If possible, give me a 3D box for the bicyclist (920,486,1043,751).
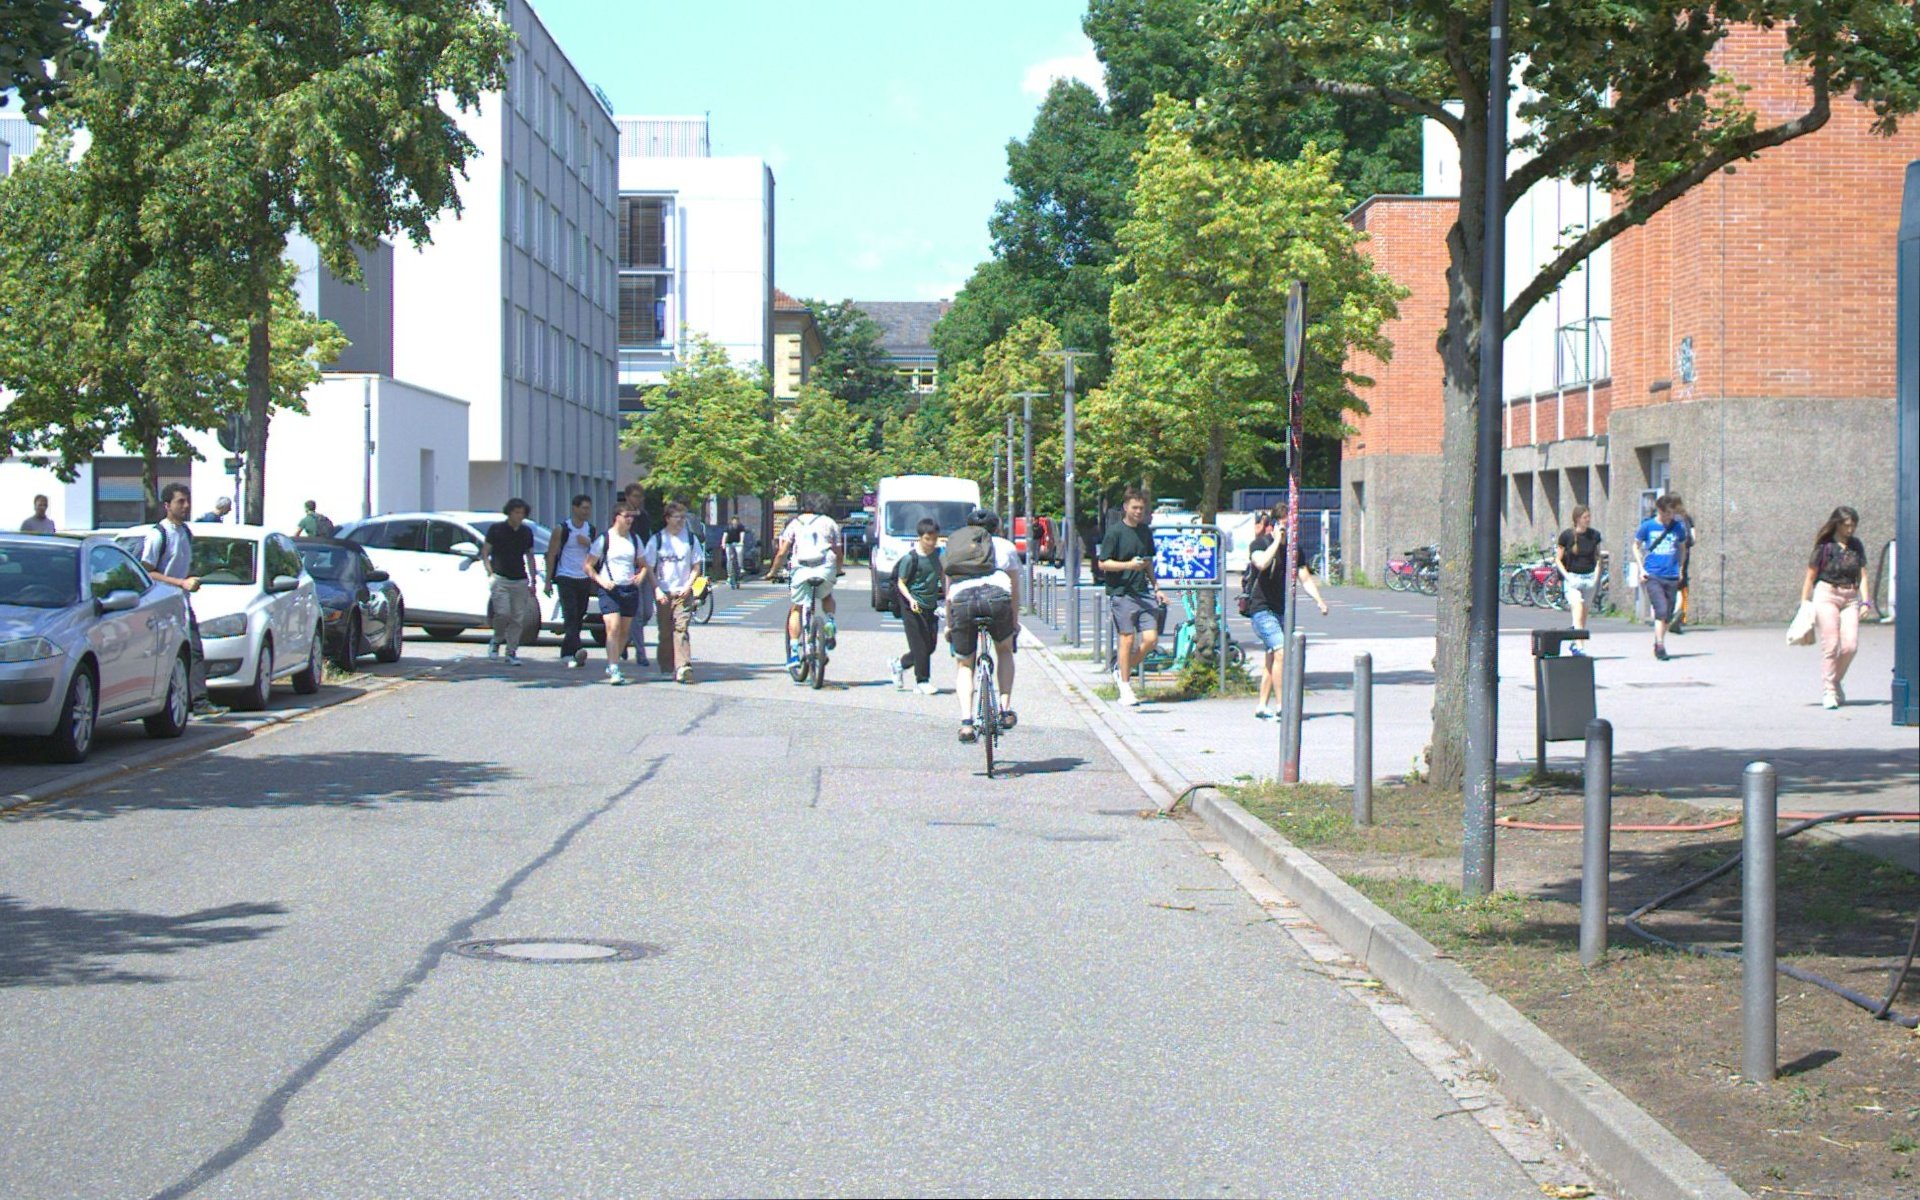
[{"bbox_3d":[0.142,0.099,22.415,0.717,1.656,1.095,2,2,0],"label":"bicyclist"}]

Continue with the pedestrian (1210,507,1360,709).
[{"bbox_3d":[2.627,0.051,27.793,0.848,1.589,0.830,-3,2,-44],"label":"pedestrian"}]

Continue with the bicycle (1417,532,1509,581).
[{"bbox_3d":[10.572,-0.914,72.266,1.809,0.981,0.560,-1,1,-1],"label":"bicycle"}]

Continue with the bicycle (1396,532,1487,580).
[{"bbox_3d":[10.216,-0.939,72.966,1.809,0.981,0.560,-1,1,-1],"label":"bicycle"}]

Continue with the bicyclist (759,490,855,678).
[{"bbox_3d":[-1.489,-0.158,33.301,0.771,1.750,0.848,-4,1,-5],"label":"bicyclist"}]

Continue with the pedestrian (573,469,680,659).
[{"bbox_3d":[-3.554,-0.383,36.693,0.827,1.973,0.691,3,1,23],"label":"pedestrian"}]

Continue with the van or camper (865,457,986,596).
[{"bbox_3d":[-0.594,-1.330,63.214,1.993,2.437,4.569,-1,1,2],"label":"van or camper"}]

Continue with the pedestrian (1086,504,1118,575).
[{"bbox_3d":[3.753,-1.605,90.893,0.790,1.853,1.026,0,1,1],"label":"pedestrian"}]

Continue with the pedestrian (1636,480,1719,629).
[{"bbox_3d":[9.102,-0.583,43.641,0.790,1.853,1.116,0,1,-2],"label":"pedestrian"}]

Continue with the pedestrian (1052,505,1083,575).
[{"bbox_3d":[2.830,-1.593,90.884,0.790,1.853,1.243,0,1,1],"label":"pedestrian"}]

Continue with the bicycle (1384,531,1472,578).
[{"bbox_3d":[10.249,-1.004,75.302,1.809,0.981,0.560,-1,1,-1],"label":"bicycle"}]

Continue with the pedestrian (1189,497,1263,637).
[{"bbox_3d":[3.325,-0.419,43.066,0.702,1.688,0.962,-2,3,-7],"label":"pedestrian"}]

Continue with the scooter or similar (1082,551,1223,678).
[{"bbox_3d":[1.948,0.134,34.770,1.263,1.260,0.649,1,1,31],"label":"scooter or similar"}]

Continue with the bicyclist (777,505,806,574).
[{"bbox_3d":[-4.113,-1.485,83.951,0.667,1.676,0.993,-1,1,-4],"label":"bicyclist"}]

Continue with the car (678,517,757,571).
[{"bbox_3d":[-7.019,-1.653,99.757,1.795,1.525,4.000,0,1,3],"label":"car"}]

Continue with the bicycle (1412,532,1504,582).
[{"bbox_3d":[10.347,-0.898,71.432,1.809,0.981,0.560,-1,1,-1],"label":"bicycle"}]

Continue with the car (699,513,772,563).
[{"bbox_3d":[-6.971,-1.948,107.168,1.795,1.525,4.000,0,1,3],"label":"car"}]

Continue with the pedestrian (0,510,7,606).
[{"bbox_3d":[-17.667,-0.766,62.143,0.693,1.743,0.636,1,1,0],"label":"pedestrian"}]

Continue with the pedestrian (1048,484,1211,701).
[{"bbox_3d":[1.502,-0.080,30.473,1.115,1.853,0.852,1,4,41],"label":"pedestrian"}]

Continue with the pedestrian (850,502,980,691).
[{"bbox_3d":[-0.427,-0.048,32.574,0.993,1.713,0.702,4,5,41],"label":"pedestrian"}]

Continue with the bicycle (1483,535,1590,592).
[{"bbox_3d":[10.437,-0.665,62.277,1.809,0.981,0.560,-1,1,-1],"label":"bicycle"}]

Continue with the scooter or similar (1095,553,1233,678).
[{"bbox_3d":[2.110,0.147,35.545,1.263,1.260,0.649,1,1,31],"label":"scooter or similar"}]

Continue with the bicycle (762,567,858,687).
[{"bbox_3d":[-1.463,0.243,33.216,0.808,0.998,2.124,2,3,-5],"label":"bicycle"}]

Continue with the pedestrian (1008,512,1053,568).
[{"bbox_3d":[2.655,-2.261,129.037,1.499,1.989,1.646,-3,2,-2],"label":"pedestrian"}]

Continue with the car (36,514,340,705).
[{"bbox_3d":[-6.206,0.028,28.027,1.662,1.407,3.807,1,1,-1],"label":"car"}]

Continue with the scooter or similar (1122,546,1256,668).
[{"bbox_3d":[2.422,0.065,36.358,1.263,1.260,0.638,1,1,31],"label":"scooter or similar"}]

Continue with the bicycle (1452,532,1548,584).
[{"bbox_3d":[10.818,-0.844,68.899,1.809,0.981,0.560,-1,1,-1],"label":"bicycle"}]

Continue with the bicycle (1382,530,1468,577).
[{"bbox_3d":[10.306,-1.031,76.266,1.809,0.981,0.560,-1,1,-1],"label":"bicycle"}]

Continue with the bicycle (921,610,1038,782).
[{"bbox_3d":[0.117,0.602,22.361,0.706,0.990,1.911,1,2,0],"label":"bicycle"}]

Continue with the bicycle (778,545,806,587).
[{"bbox_3d":[-4.094,-0.833,83.985,0.677,0.961,2.003,0,3,-3],"label":"bicycle"}]

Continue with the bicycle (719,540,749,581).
[{"bbox_3d":[-5.446,-0.957,82.902,0.677,0.961,2.003,0,1,-3],"label":"bicycle"}]

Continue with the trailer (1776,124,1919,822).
[{"bbox_3d":[5.564,-0.552,14.152,2.691,3.041,6.258,-1,1,-2],"label":"trailer"}]

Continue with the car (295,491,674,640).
[{"bbox_3d":[-5.919,-0.441,42.567,4.515,1.613,1.920,3,0,36],"label":"car"}]

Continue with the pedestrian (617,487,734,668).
[{"bbox_3d":[-2.773,-0.230,33.522,0.908,1.733,0.677,1,2,38],"label":"pedestrian"}]

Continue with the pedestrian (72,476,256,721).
[{"bbox_3d":[-5.797,-0.008,25.093,1.105,1.710,0.710,3,0,-2],"label":"pedestrian"}]

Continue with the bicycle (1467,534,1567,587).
[{"bbox_3d":[10.745,-0.765,66.353,1.809,0.981,0.560,-1,1,-1],"label":"bicycle"}]

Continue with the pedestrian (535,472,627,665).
[{"bbox_3d":[-3.938,-0.327,35.721,0.616,1.973,0.829,-1,0,-32],"label":"pedestrian"}]

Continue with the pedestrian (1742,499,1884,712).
[{"bbox_3d":[7.006,0.032,28.272,0.875,1.632,0.949,-3,5,-1],"label":"pedestrian"}]

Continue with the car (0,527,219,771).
[{"bbox_3d":[-6.085,0.237,21.952,1.725,1.339,4.165,2,1,1],"label":"car"}]

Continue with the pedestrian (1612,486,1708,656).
[{"bbox_3d":[7.568,-0.324,37.185,0.708,1.781,0.753,-3,3,-13],"label":"pedestrian"}]

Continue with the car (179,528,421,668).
[{"bbox_3d":[-6.557,-0.059,34.509,1.645,1.296,3.928,0,1,0],"label":"car"}]

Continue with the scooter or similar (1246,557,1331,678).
[{"bbox_3d":[3.256,0.163,33.998,0.649,1.156,1.264,0,1,15],"label":"scooter or similar"}]

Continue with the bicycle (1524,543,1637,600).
[{"bbox_3d":[10.575,-0.488,58.609,1.809,0.909,0.560,-1,1,-1],"label":"bicycle"}]

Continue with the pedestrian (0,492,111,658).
[{"bbox_3d":[-11.093,-0.301,41.544,1.178,1.897,1.015,1,-4,45],"label":"pedestrian"}]

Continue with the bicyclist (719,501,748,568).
[{"bbox_3d":[-5.466,-1.595,83.086,0.643,1.596,0.909,-1,1,-2],"label":"bicyclist"}]

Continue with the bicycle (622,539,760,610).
[{"bbox_3d":[-3.979,-0.381,50.766,2.122,0.999,0.809,2,1,44],"label":"bicycle"}]

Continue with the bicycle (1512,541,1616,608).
[{"bbox_3d":[9.556,-0.408,54.399,1.535,1.029,0.560,-1,1,-1],"label":"bicycle"}]

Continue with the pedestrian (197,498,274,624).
[{"bbox_3d":[-10.399,-0.556,49.369,0.982,1.779,0.669,0,0,-2],"label":"pedestrian"}]

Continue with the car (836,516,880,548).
[{"bbox_3d":[-4.920,-3.301,165.773,1.795,1.525,4.000,0,1,3],"label":"car"}]

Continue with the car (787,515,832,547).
[{"bbox_3d":[-7.264,-3.371,166.396,1.795,1.525,4.000,0,1,3],"label":"car"}]

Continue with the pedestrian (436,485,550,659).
[{"bbox_3d":[-4.891,-0.291,36.024,0.802,1.766,0.853,3,1,23],"label":"pedestrian"}]

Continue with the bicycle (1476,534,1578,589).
[{"bbox_3d":[10.732,-0.730,65.124,1.809,0.981,0.560,-1,1,-1],"label":"bicycle"}]

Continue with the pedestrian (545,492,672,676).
[{"bbox_3d":[-3.375,-0.147,33.016,0.983,1.733,0.699,-2,-1,40],"label":"pedestrian"}]

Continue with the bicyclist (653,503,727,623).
[{"bbox_3d":[-3.989,-0.547,50.762,0.692,1.750,0.809,1,1,44],"label":"bicyclist"}]

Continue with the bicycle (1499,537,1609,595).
[{"bbox_3d":[10.422,-0.599,60.368,1.809,0.981,0.560,-1,1,-1],"label":"bicycle"}]

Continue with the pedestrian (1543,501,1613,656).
[{"bbox_3d":[6.641,-0.233,36.939,0.501,1.625,0.571,-3,3,-12],"label":"pedestrian"}]
